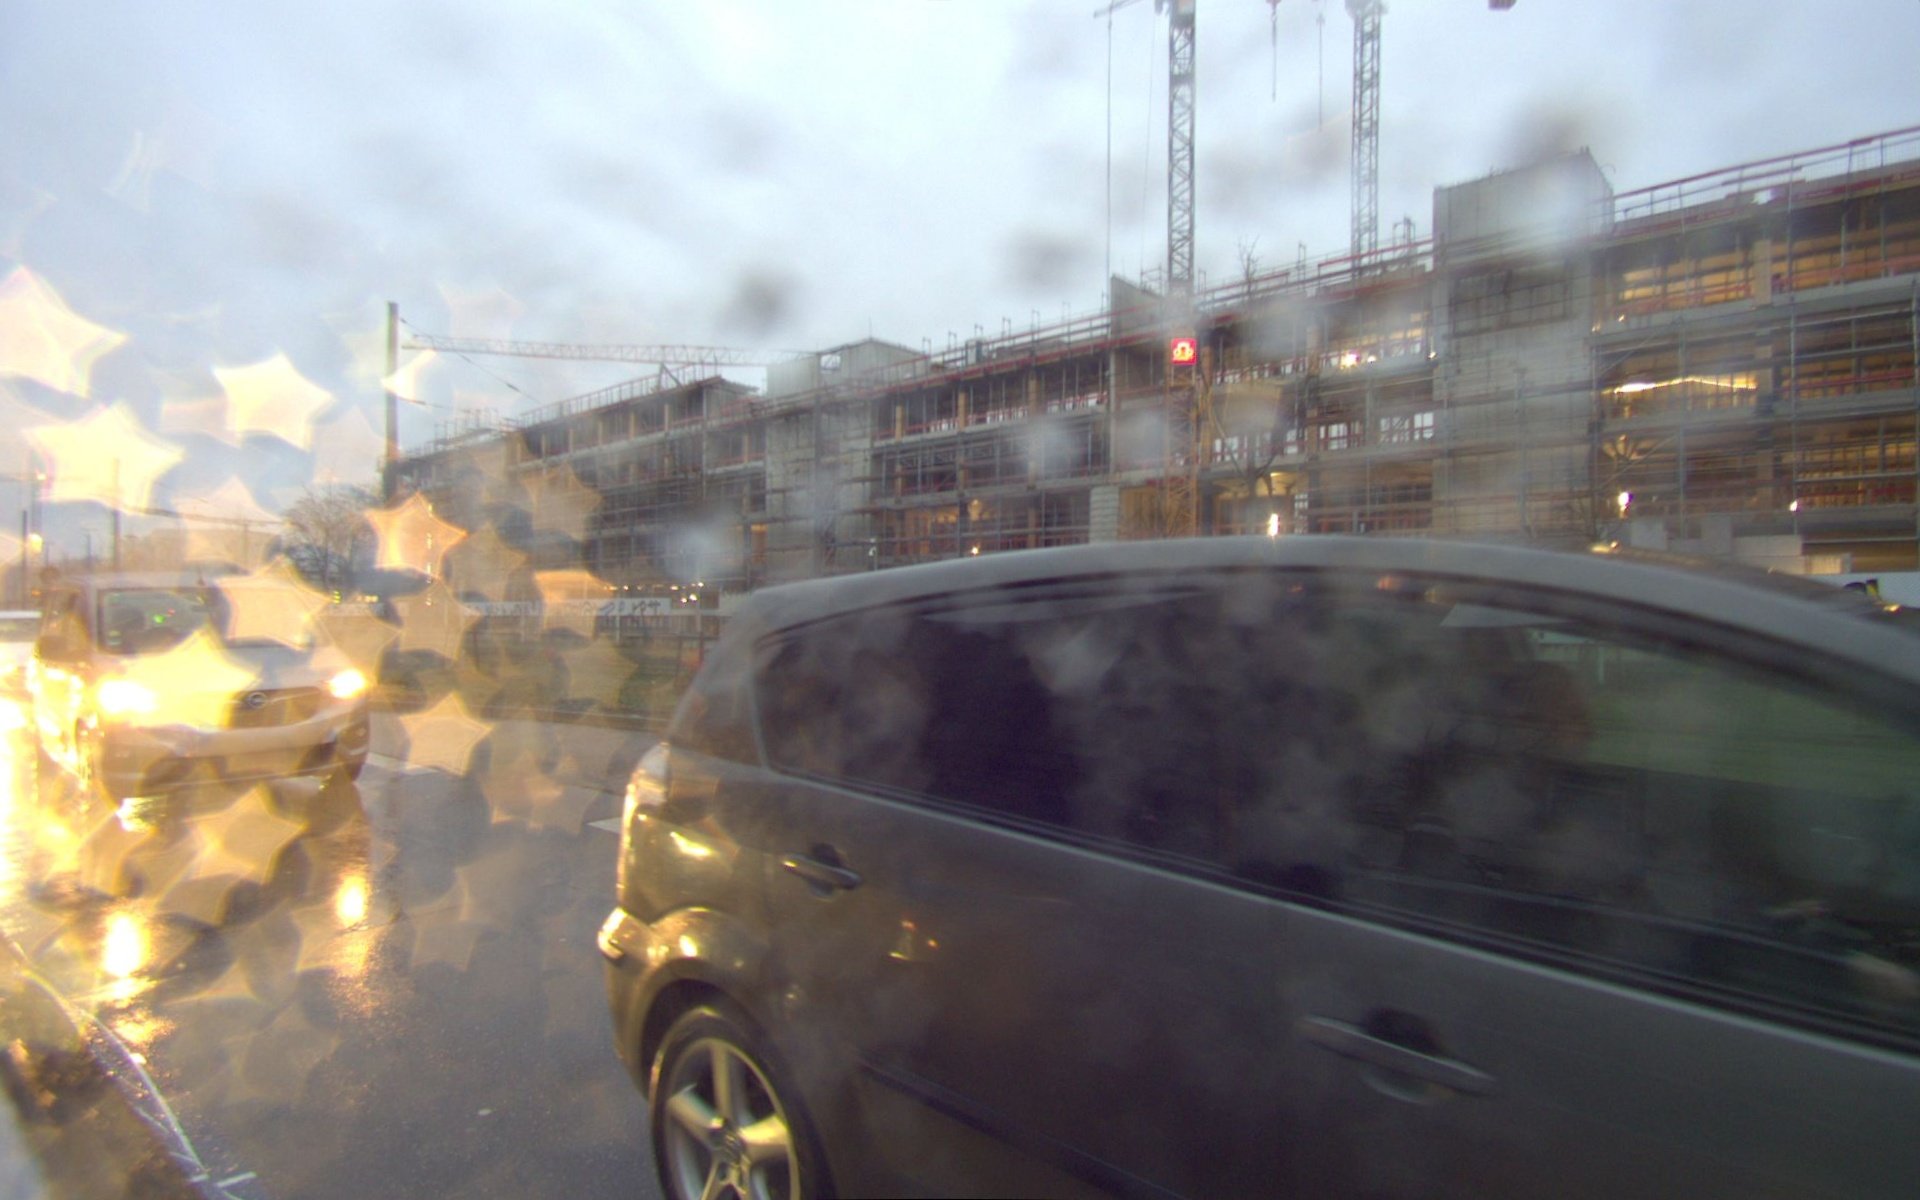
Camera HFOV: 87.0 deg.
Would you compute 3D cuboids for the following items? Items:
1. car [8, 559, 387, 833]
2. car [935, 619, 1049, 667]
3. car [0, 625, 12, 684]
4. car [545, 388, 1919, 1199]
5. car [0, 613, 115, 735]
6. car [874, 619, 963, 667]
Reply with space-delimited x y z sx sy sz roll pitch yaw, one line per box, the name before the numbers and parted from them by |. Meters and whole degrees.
car | -6.516 0.623 8.481 3.999 1.746 1.833 -1 0 42
car | 1.188 1.594 39.002 4.080 1.700 1.933 -1 0 40
car | -27.803 1.507 28.040 3.997 1.568 1.821 -1 0 40
car | 1.143 0.616 1.737 3.996 1.606 1.742 -1 0 39
car | -14.699 1.057 15.688 4.322 1.666 1.820 -1 0 41
car | -2.033 2.041 48.907 4.082 2.139 1.932 -1 0 41
